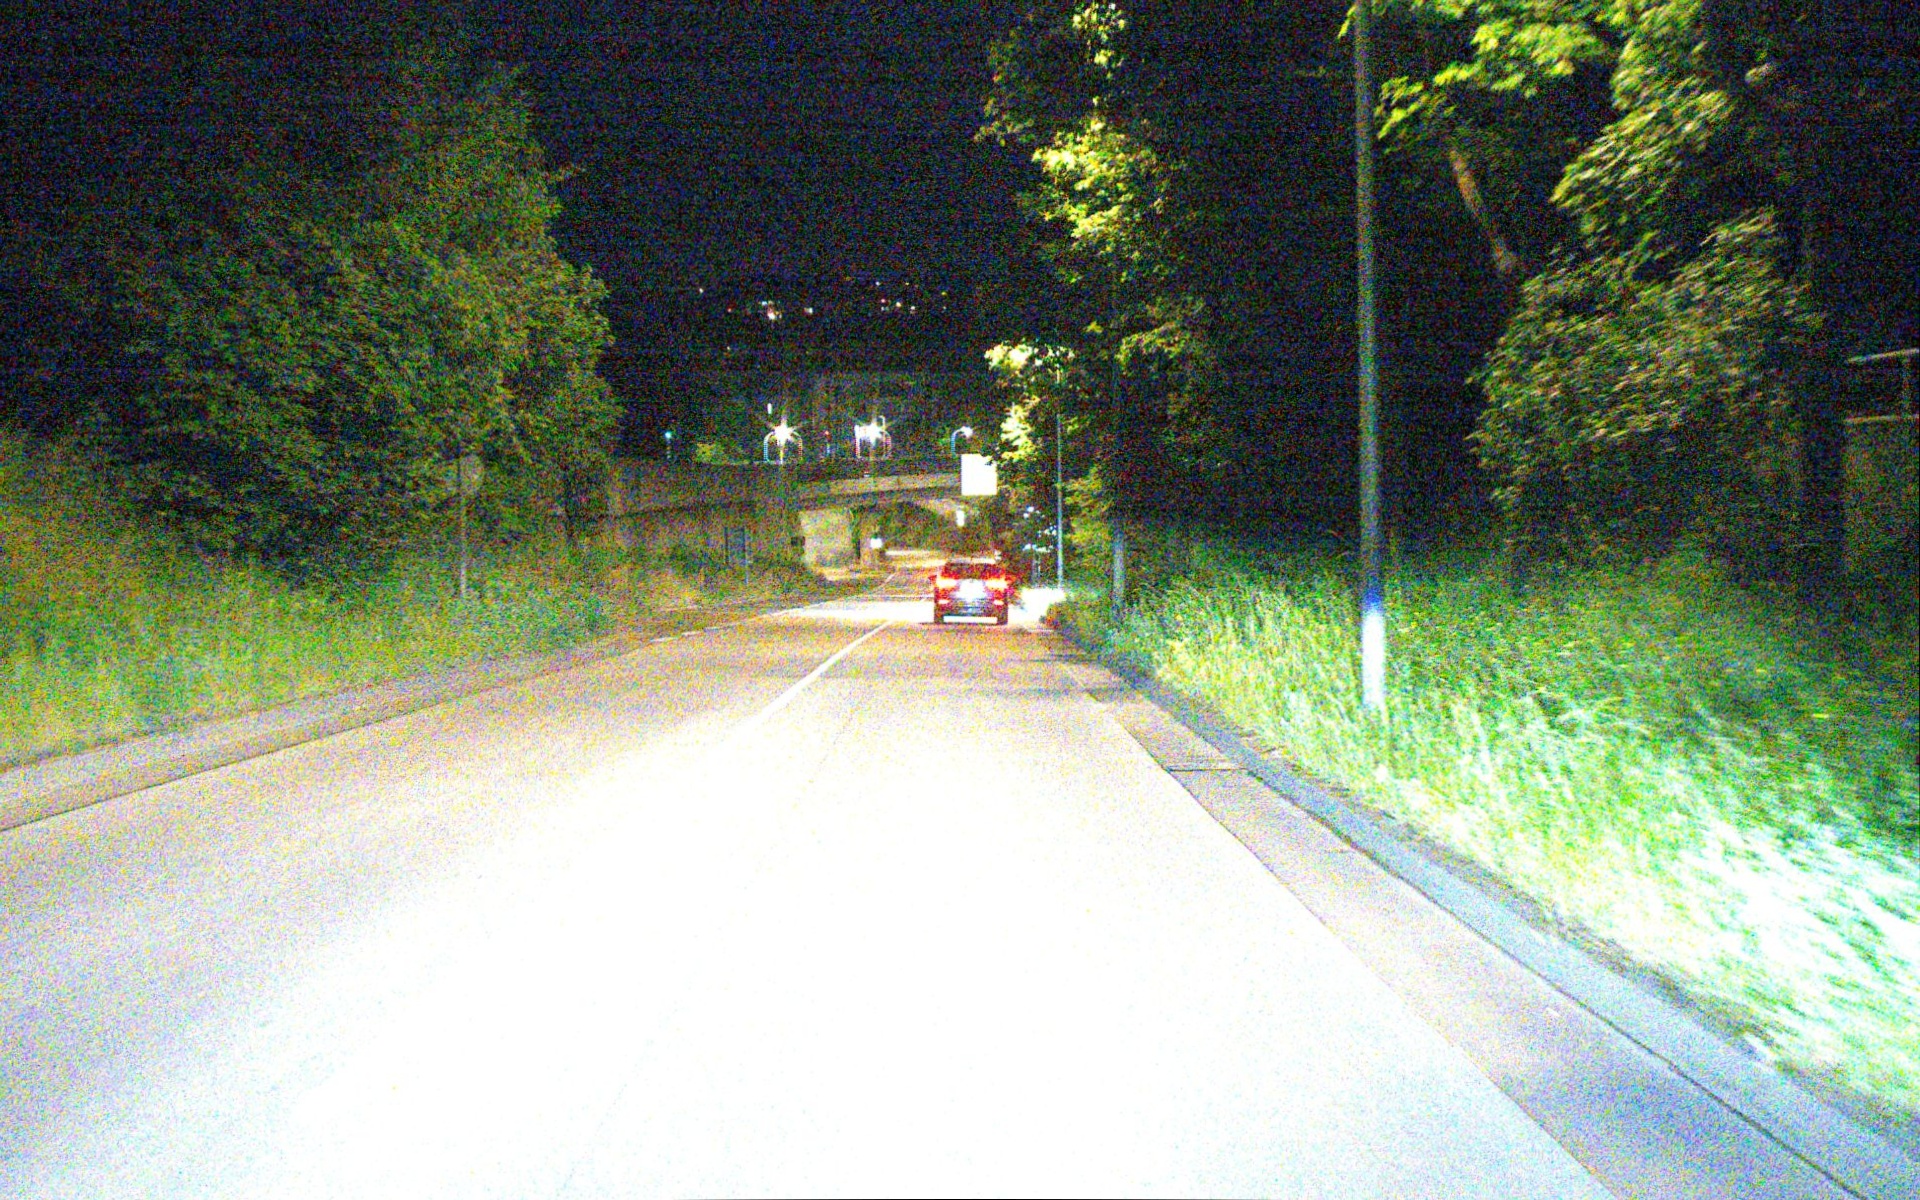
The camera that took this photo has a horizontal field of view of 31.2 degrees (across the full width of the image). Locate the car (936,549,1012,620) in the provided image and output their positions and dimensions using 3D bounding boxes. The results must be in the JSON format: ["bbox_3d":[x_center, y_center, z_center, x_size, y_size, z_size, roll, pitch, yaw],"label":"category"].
[{"bbox_3d":[0.365,-0.391,83.706,1.763,1.636,3.723,0,1,1],"label":"car"}]
